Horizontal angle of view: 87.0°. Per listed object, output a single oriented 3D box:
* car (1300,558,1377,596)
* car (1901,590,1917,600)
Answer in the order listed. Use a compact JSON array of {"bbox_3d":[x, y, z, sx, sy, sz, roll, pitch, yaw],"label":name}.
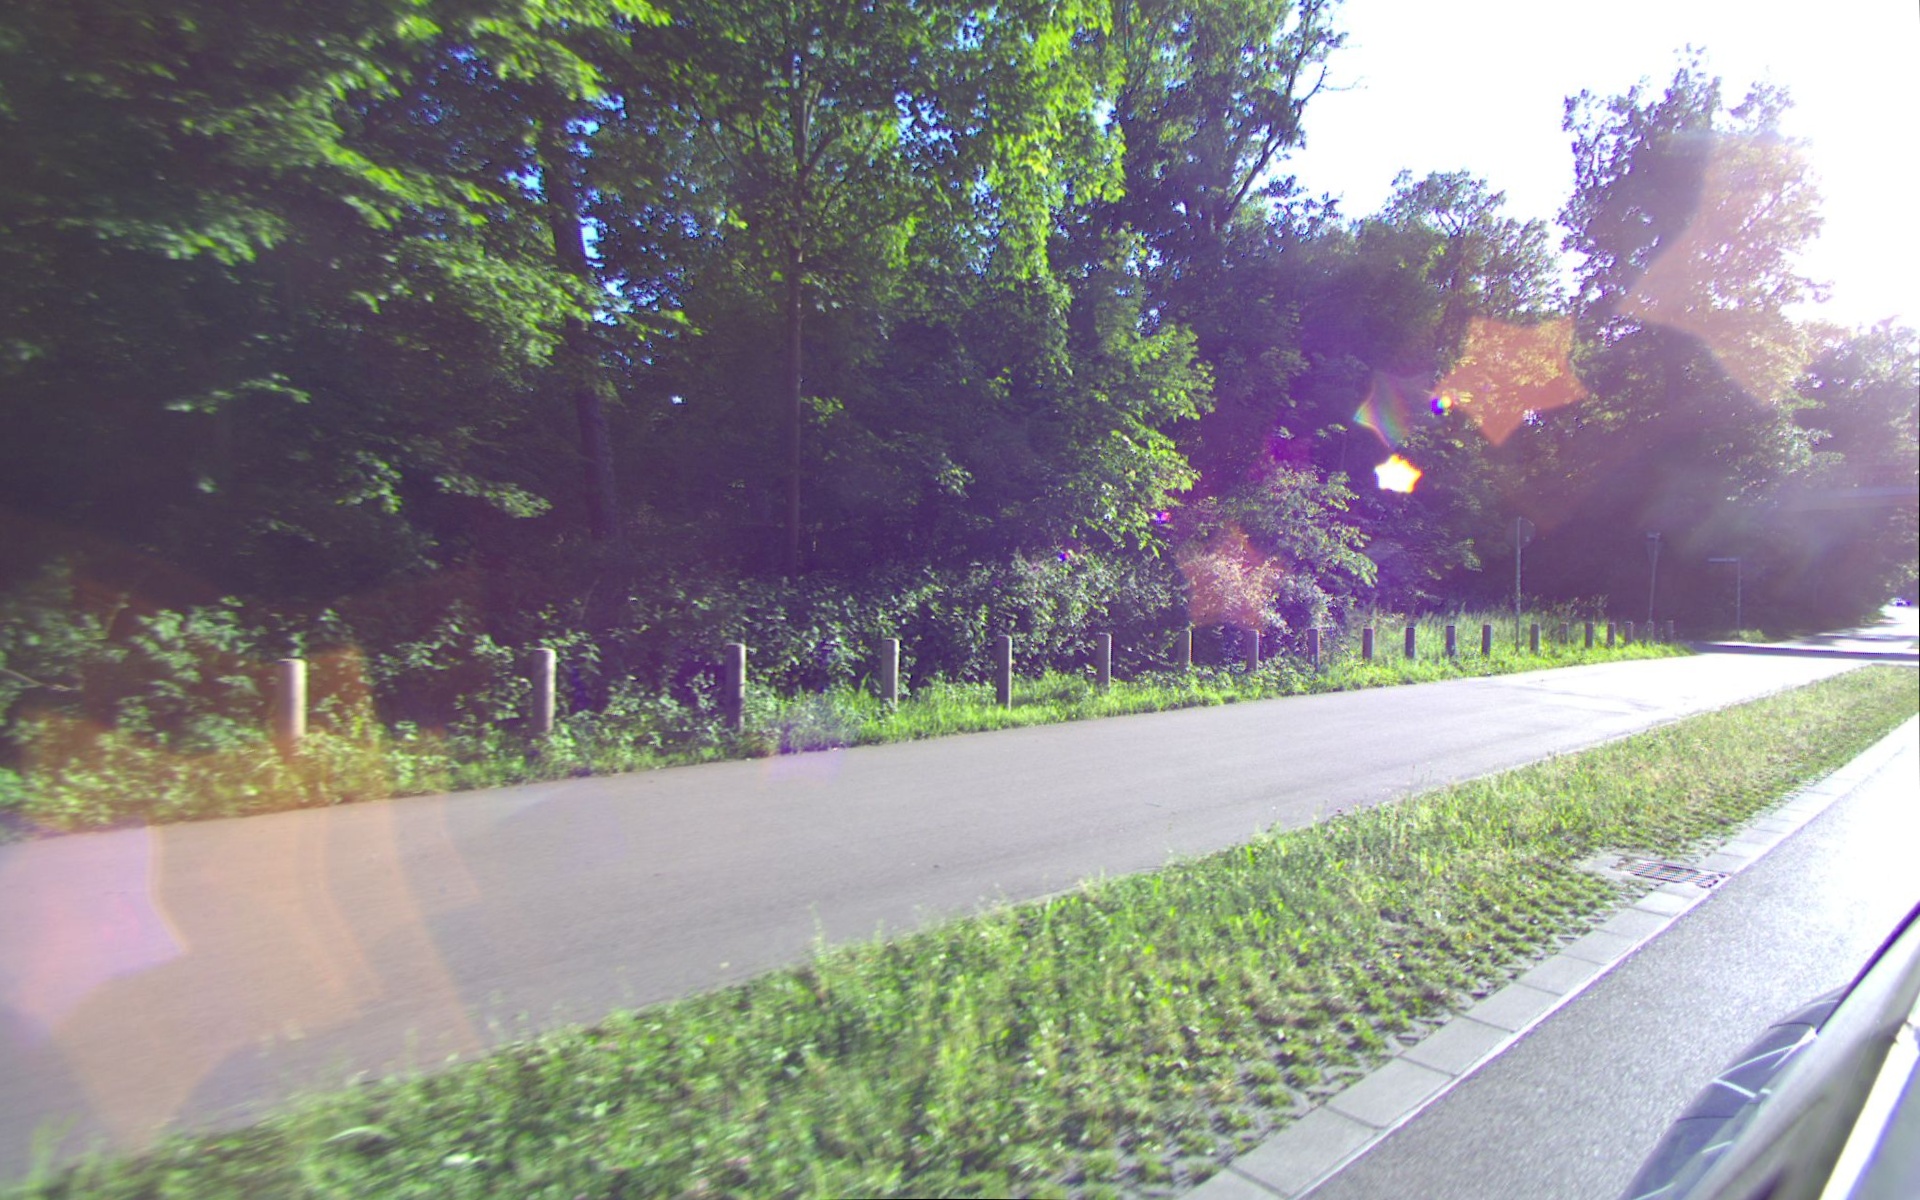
[{"bbox_3d":[16.233,-0.974,43.290,1.736,1.544,3.938,1,1,43],"label":"car"},{"bbox_3d":[169.078,-0.825,180.260,1.820,1.705,3.941,2,1,40],"label":"car"}]
